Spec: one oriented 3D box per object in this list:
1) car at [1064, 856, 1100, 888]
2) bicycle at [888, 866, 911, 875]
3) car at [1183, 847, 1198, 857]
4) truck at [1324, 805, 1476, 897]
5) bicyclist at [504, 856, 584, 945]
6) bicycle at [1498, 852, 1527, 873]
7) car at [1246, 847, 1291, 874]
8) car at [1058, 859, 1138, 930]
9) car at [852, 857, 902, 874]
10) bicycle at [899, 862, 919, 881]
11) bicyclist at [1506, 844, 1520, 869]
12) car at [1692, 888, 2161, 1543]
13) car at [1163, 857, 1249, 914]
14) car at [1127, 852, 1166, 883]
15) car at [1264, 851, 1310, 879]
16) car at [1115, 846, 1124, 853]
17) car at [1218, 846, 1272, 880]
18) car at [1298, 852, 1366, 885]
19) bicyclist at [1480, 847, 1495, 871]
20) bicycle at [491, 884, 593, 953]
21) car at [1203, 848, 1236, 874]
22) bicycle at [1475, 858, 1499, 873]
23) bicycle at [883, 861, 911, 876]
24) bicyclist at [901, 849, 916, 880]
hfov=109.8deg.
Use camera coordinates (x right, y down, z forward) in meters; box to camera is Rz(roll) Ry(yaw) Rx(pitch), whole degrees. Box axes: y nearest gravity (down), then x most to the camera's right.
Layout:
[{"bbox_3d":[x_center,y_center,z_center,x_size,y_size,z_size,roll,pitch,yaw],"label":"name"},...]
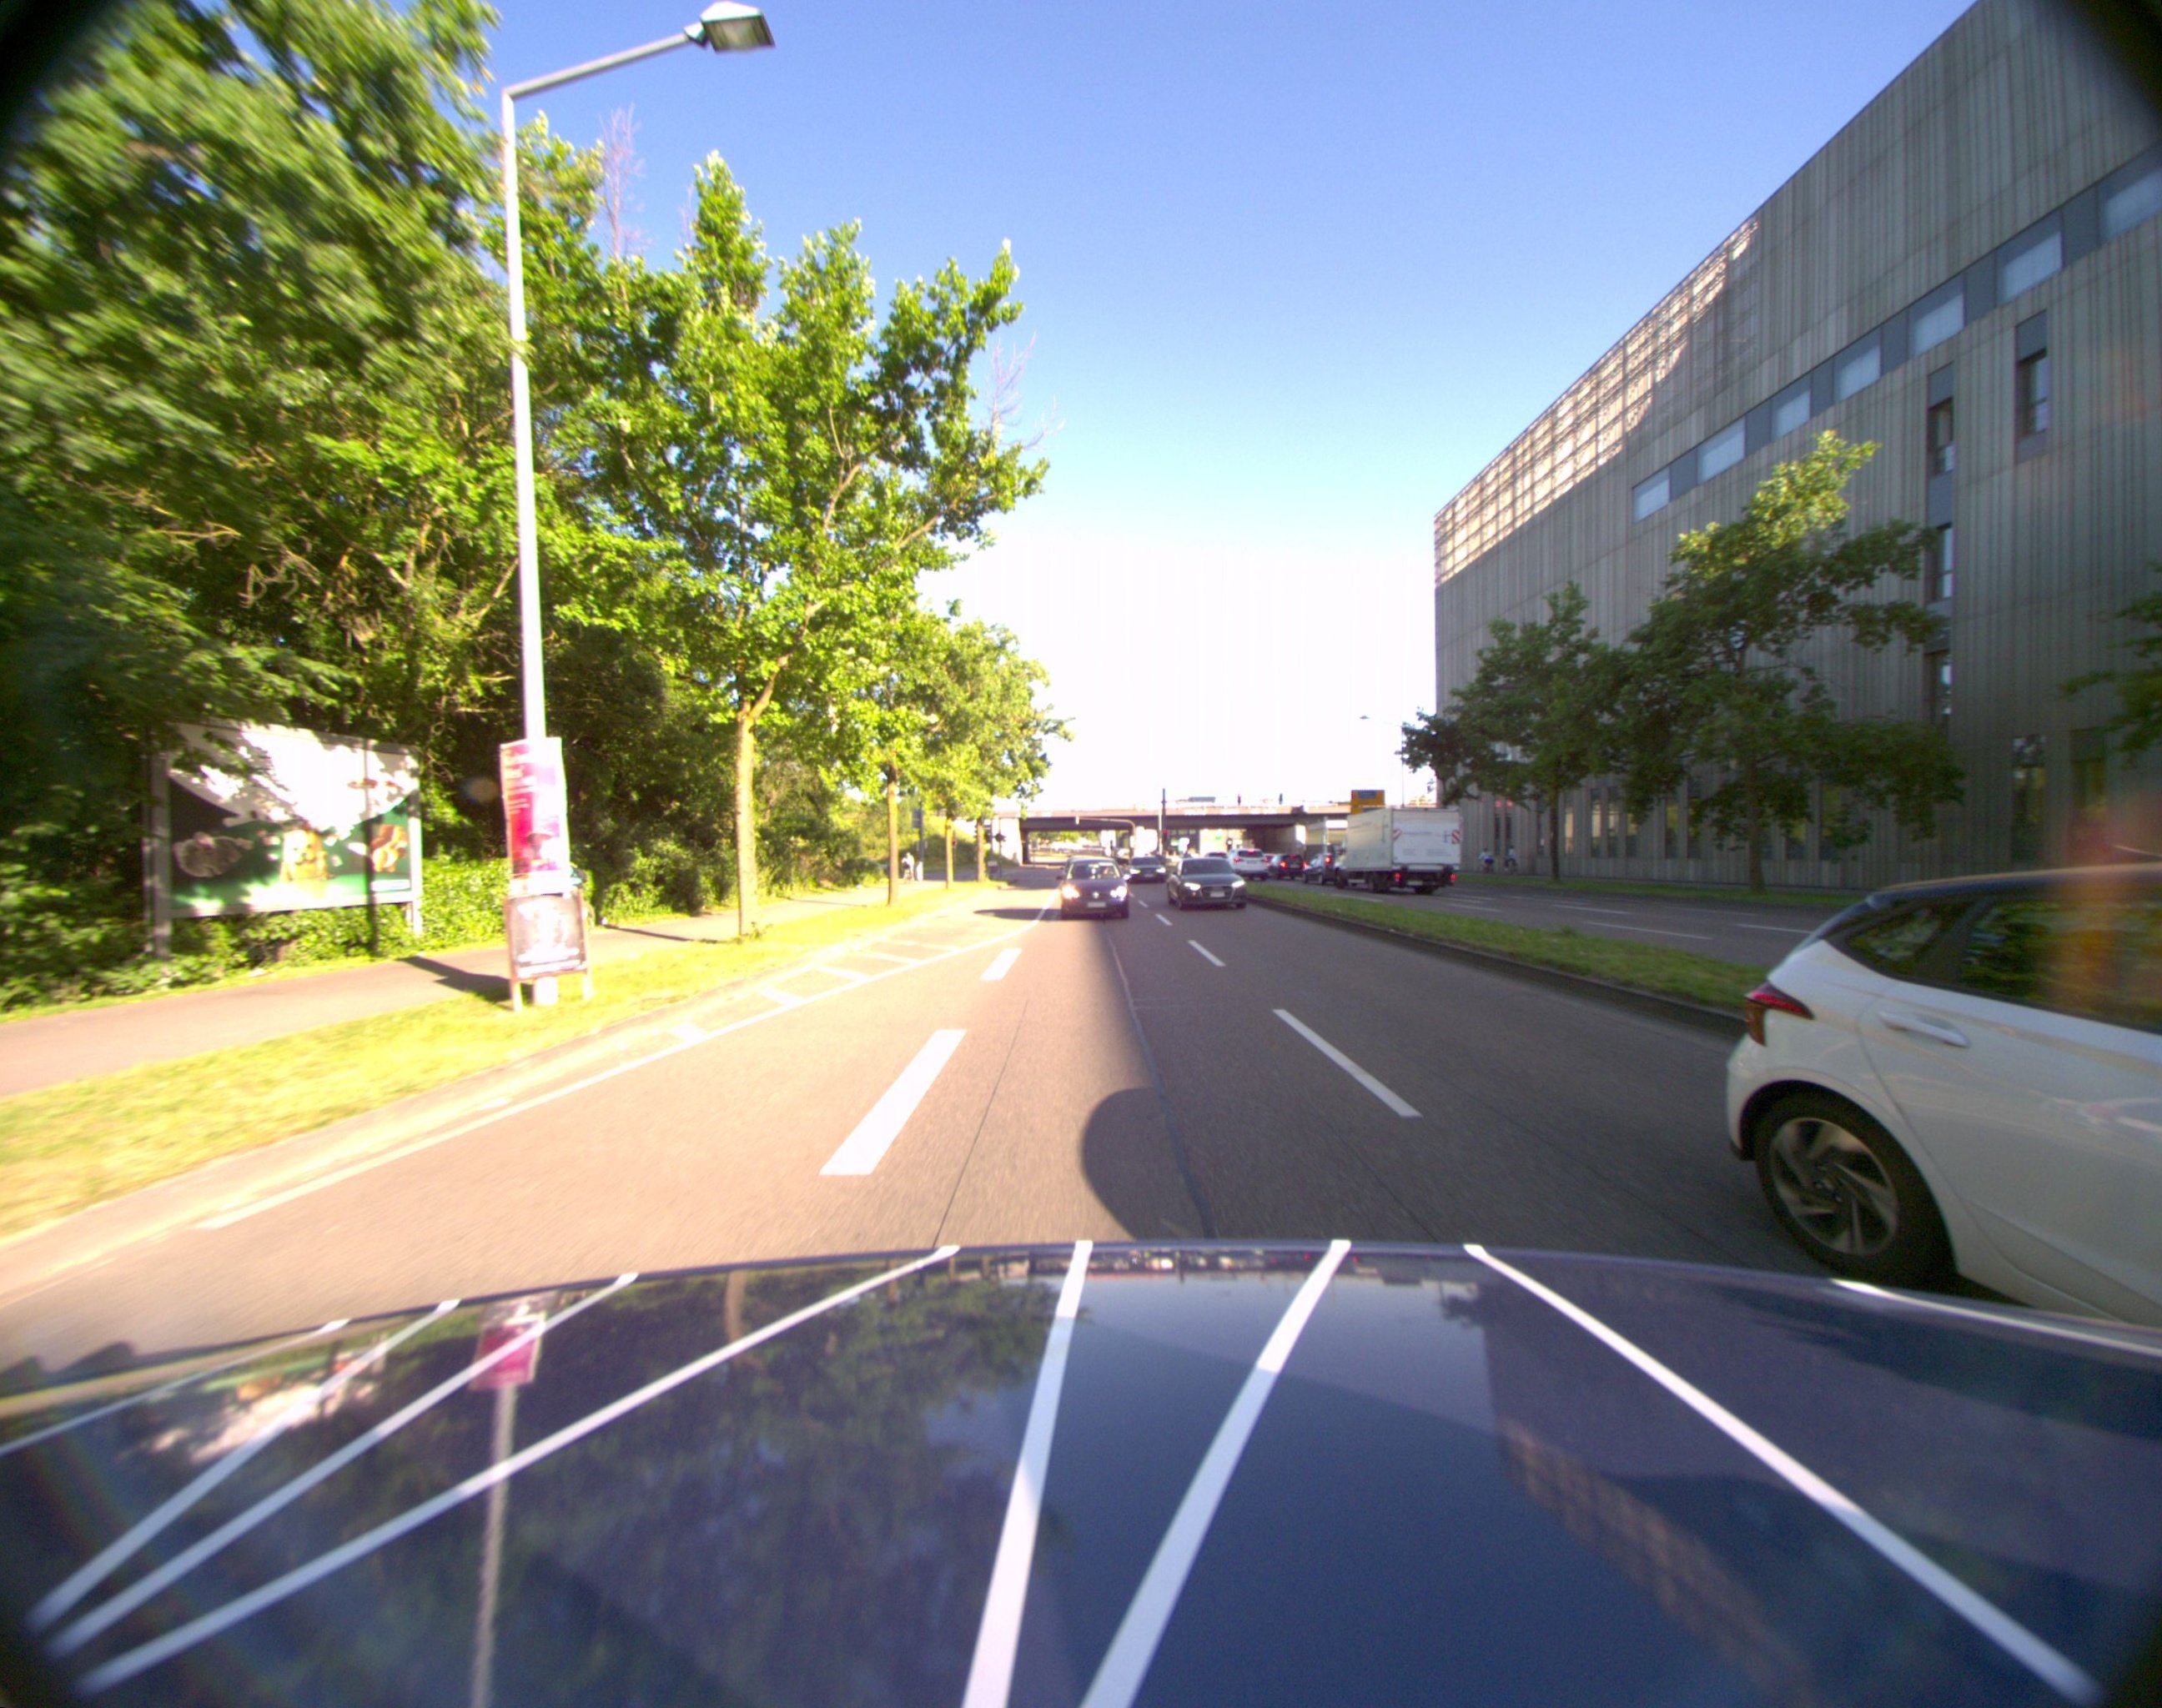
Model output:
[{"bbox_3d":[0.059,0.862,38.656,1.702,1.478,3.946,-1,1,0],"label":"car"},{"bbox_3d":[-12.801,1.142,53.522,0.844,0.618,2.190,1,-1,-34],"label":"bicycle"},{"bbox_3d":[17.565,-0.338,121.660,1.707,1.433,4.880,0,1,0],"label":"car"},{"bbox_3d":[11.516,-0.137,28.281,2.693,2.944,7.113,1,1,1],"label":"truck"},{"bbox_3d":[-9.590,0.809,13.619,0.687,1.513,1.035,-1,1,-3],"label":"bicyclist"},{"bbox_3d":[26.288,0.498,46.327,0.513,1.262,2.099,-1,0,0],"label":"bicycle"},{"bbox_3d":[11.830,0.380,48.173,1.846,1.647,3.999,0,1,1],"label":"car"},{"bbox_3d":[0.366,0.893,18.422,1.702,1.474,4.052,-2,0,0],"label":"car"},{"bbox_3d":[-18.597,1.045,69.401,3.995,1.467,1.817,-1,2,6],"label":"car"},{"bbox_3d":[-9.190,0.918,40.688,0.573,0.986,2.046,-1,0,0],"label":"bicycle"},{"bbox_3d":[26.285,0.168,46.221,0.508,1.498,0.645,-1,1,-1],"label":"bicyclist"},{"bbox_3d":[3.376,0.873,1.040,1.782,1.400,4.074,-2,0,0],"label":"car"},{"bbox_3d":[3.455,0.815,21.696,1.702,1.396,4.364,-1,1,0],"label":"car"},{"bbox_3d":[3.430,0.673,40.370,1.702,1.529,3.946,-1,1,0],"label":"car"},{"bbox_3d":[11.446,0.572,42.445,1.624,1.461,3.640,1,0,1],"label":"car"},{"bbox_3d":[7.998,-0.951,157.341,1.632,1.531,4.000,1,1,1],"label":"car"},{"bbox_3d":[8.645,0.434,40.475,1.828,1.672,4.658,1,1,0],"label":"car"},{"bbox_3d":[11.566,0.629,35.282,1.840,1.415,4.000,0,0,0],"label":"car"},{"bbox_3d":[25.045,0.306,46.796,0.509,1.434,0.753,-1,1,0],"label":"bicyclist"},{"bbox_3d":[-9.612,1.113,13.642,0.517,1.066,1.935,-1,1,-3],"label":"bicycle"},{"bbox_3d":[8.790,0.423,48.430,1.605,1.571,3.212,0,1,1],"label":"car"},{"bbox_3d":[25.050,0.710,46.887,0.513,0.885,1.754,-1,0,0],"label":"bicycle"},{"bbox_3d":[-13.515,1.045,55.701,1.992,1.047,0.455,-1,1,13],"label":"bicycle"},{"bbox_3d":[-9.178,0.549,40.470,0.566,1.600,0.865,-1,1,0],"label":"bicyclist"}]
